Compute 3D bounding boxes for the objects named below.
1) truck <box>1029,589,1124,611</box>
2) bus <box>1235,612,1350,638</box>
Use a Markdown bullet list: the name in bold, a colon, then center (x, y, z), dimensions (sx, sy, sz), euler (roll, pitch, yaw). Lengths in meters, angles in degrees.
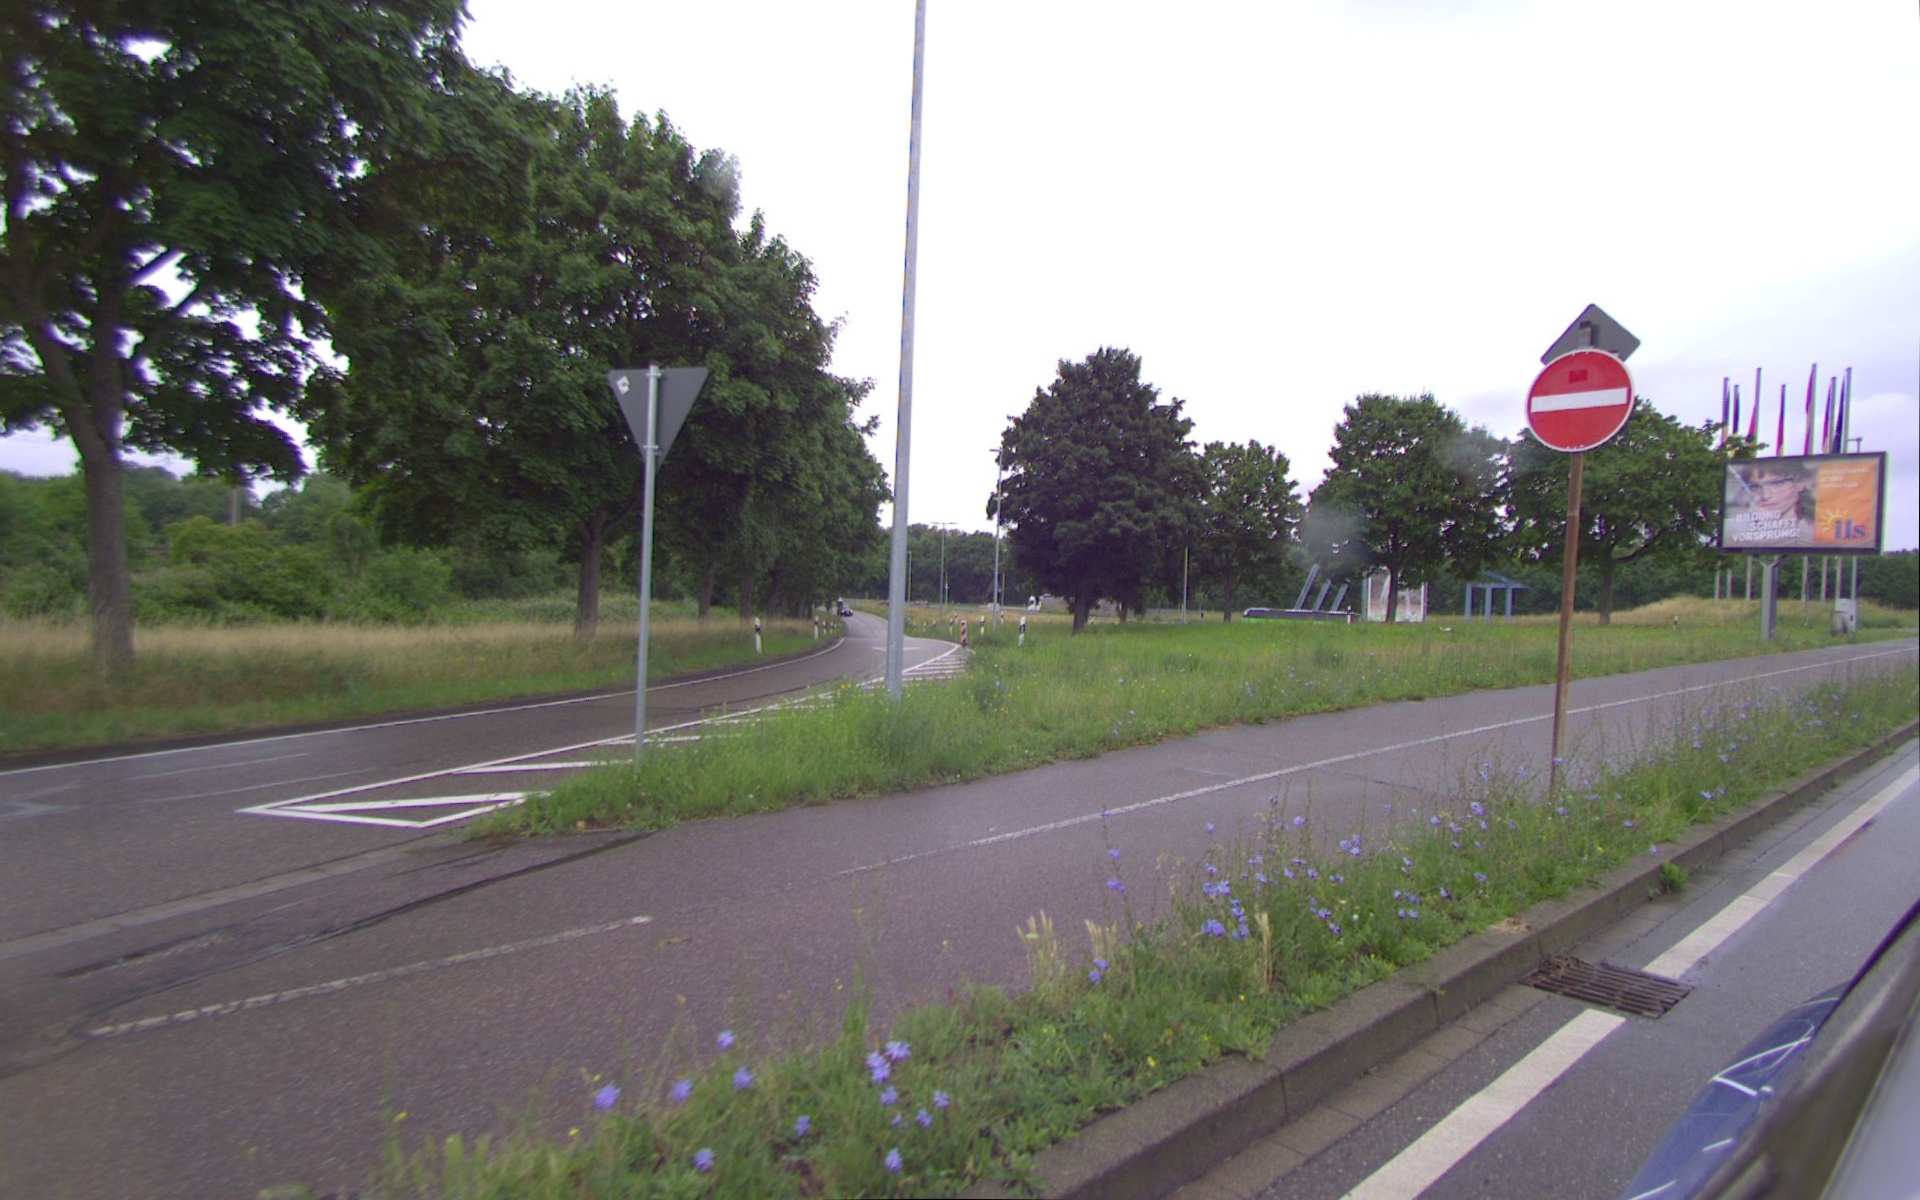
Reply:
- **truck**: center (19.112, -0.014, 167.292), dimensions (16.137, 3.433, 2.718), euler (1, 0, 32)
- **bus**: center (40.674, 3.009, 123.803), dimensions (14.285, 2.713, 2.769), euler (-1, 1, -16)
